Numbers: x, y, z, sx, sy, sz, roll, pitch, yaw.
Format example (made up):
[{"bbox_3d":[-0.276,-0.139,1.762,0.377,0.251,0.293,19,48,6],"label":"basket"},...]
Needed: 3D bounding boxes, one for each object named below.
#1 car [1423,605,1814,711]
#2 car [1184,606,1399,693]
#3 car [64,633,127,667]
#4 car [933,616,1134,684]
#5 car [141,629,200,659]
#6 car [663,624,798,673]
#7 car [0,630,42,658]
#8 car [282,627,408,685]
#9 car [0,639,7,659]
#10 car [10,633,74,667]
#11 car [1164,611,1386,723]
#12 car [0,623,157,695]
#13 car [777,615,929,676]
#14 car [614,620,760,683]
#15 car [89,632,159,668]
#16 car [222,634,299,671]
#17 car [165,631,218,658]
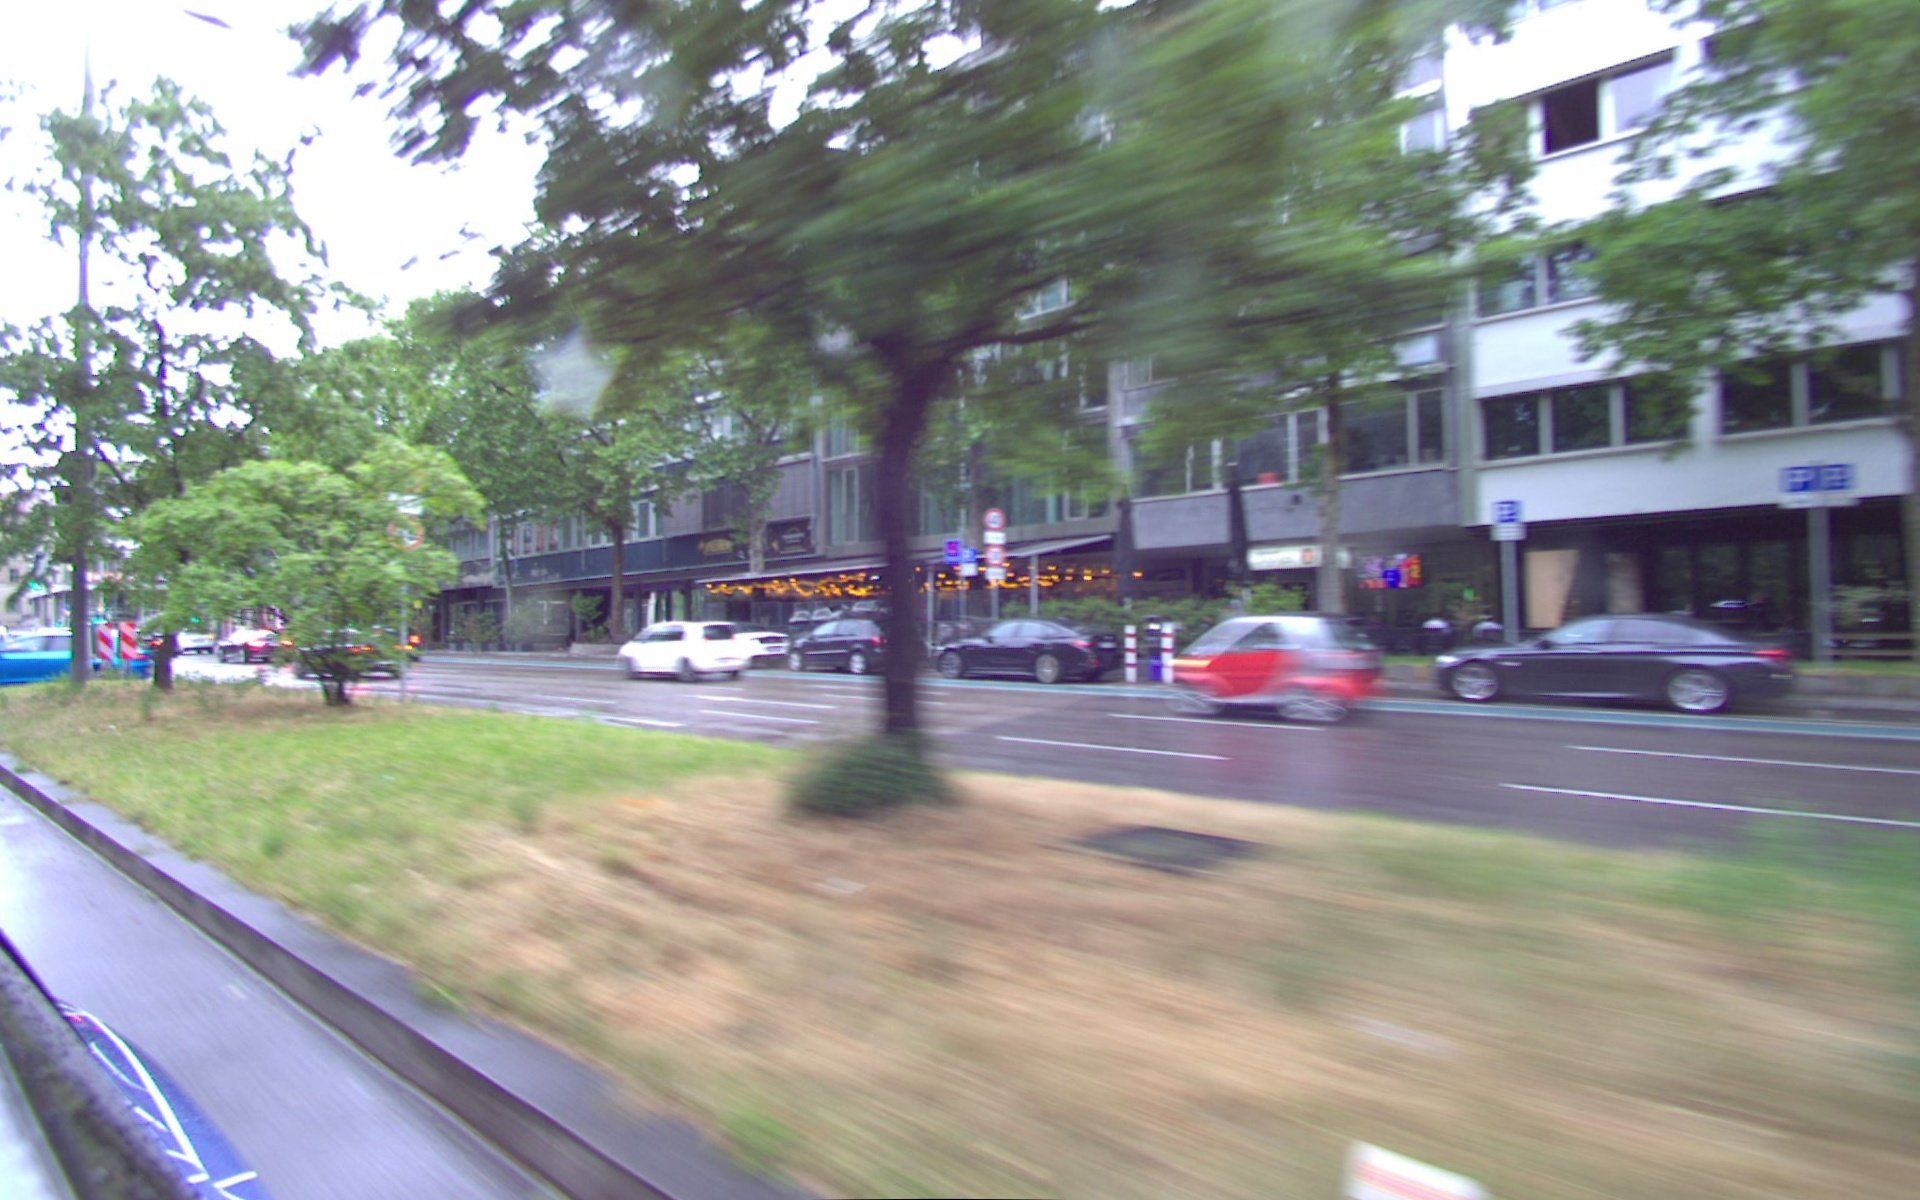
[{"bbox_3d":[10.131,0.871,15.898,4.905,1.420,1.674,-3,-2,44],"label":"car"},{"bbox_3d":[6.196,0.912,19.090,3.457,1.479,1.676,-3,-2,40],"label":"car"},{"bbox_3d":[-43.670,2.528,51.069,4.828,1.585,1.717,-3,-2,41],"label":"car"},{"bbox_3d":[1.611,1.136,23.236,4.453,1.420,1.676,-3,-2,40],"label":"car"},{"bbox_3d":[-41.577,2.301,53.267,4.568,1.502,1.701,-2,-2,42],"label":"car"},{"bbox_3d":[-7.115,1.507,31.129,4.679,1.364,1.543,-3,-1,41],"label":"car"},{"bbox_3d":[-70.372,3.308,75.704,4.088,2.000,1.734,-2,-2,36],"label":"car"},{"bbox_3d":[-17.521,1.534,28.781,4.090,1.487,1.732,-1,0,38],"label":"car"},{"bbox_3d":[-66.831,3.350,69.171,4.088,1.332,1.734,-2,-2,36],"label":"car"},{"bbox_3d":[-50.148,2.728,55.238,5.102,1.780,1.818,-3,-2,39],"label":"car"},{"bbox_3d":[4.586,0.934,14.864,2.730,1.474,1.478,-2,-2,42],"label":"car"},{"bbox_3d":[-21.256,1.372,23.090,4.321,1.493,1.855,-2,-2,-30],"label":"car"},{"bbox_3d":[-2.942,1.214,27.347,3.997,1.519,1.818,-3,-2,40],"label":"car"},{"bbox_3d":[-6.942,1.285,25.565,3.640,1.440,1.825,-3,-2,40],"label":"car"},{"bbox_3d":[-37.346,2.201,45.177,4.093,1.487,1.731,-2,-2,41],"label":"car"},{"bbox_3d":[-30.066,2.213,43.464,4.093,1.487,1.731,-2,-2,41],"label":"car"},{"bbox_3d":[-47.426,2.715,62.443,3.996,1.577,1.735,-2,-2,39],"label":"car"}]
